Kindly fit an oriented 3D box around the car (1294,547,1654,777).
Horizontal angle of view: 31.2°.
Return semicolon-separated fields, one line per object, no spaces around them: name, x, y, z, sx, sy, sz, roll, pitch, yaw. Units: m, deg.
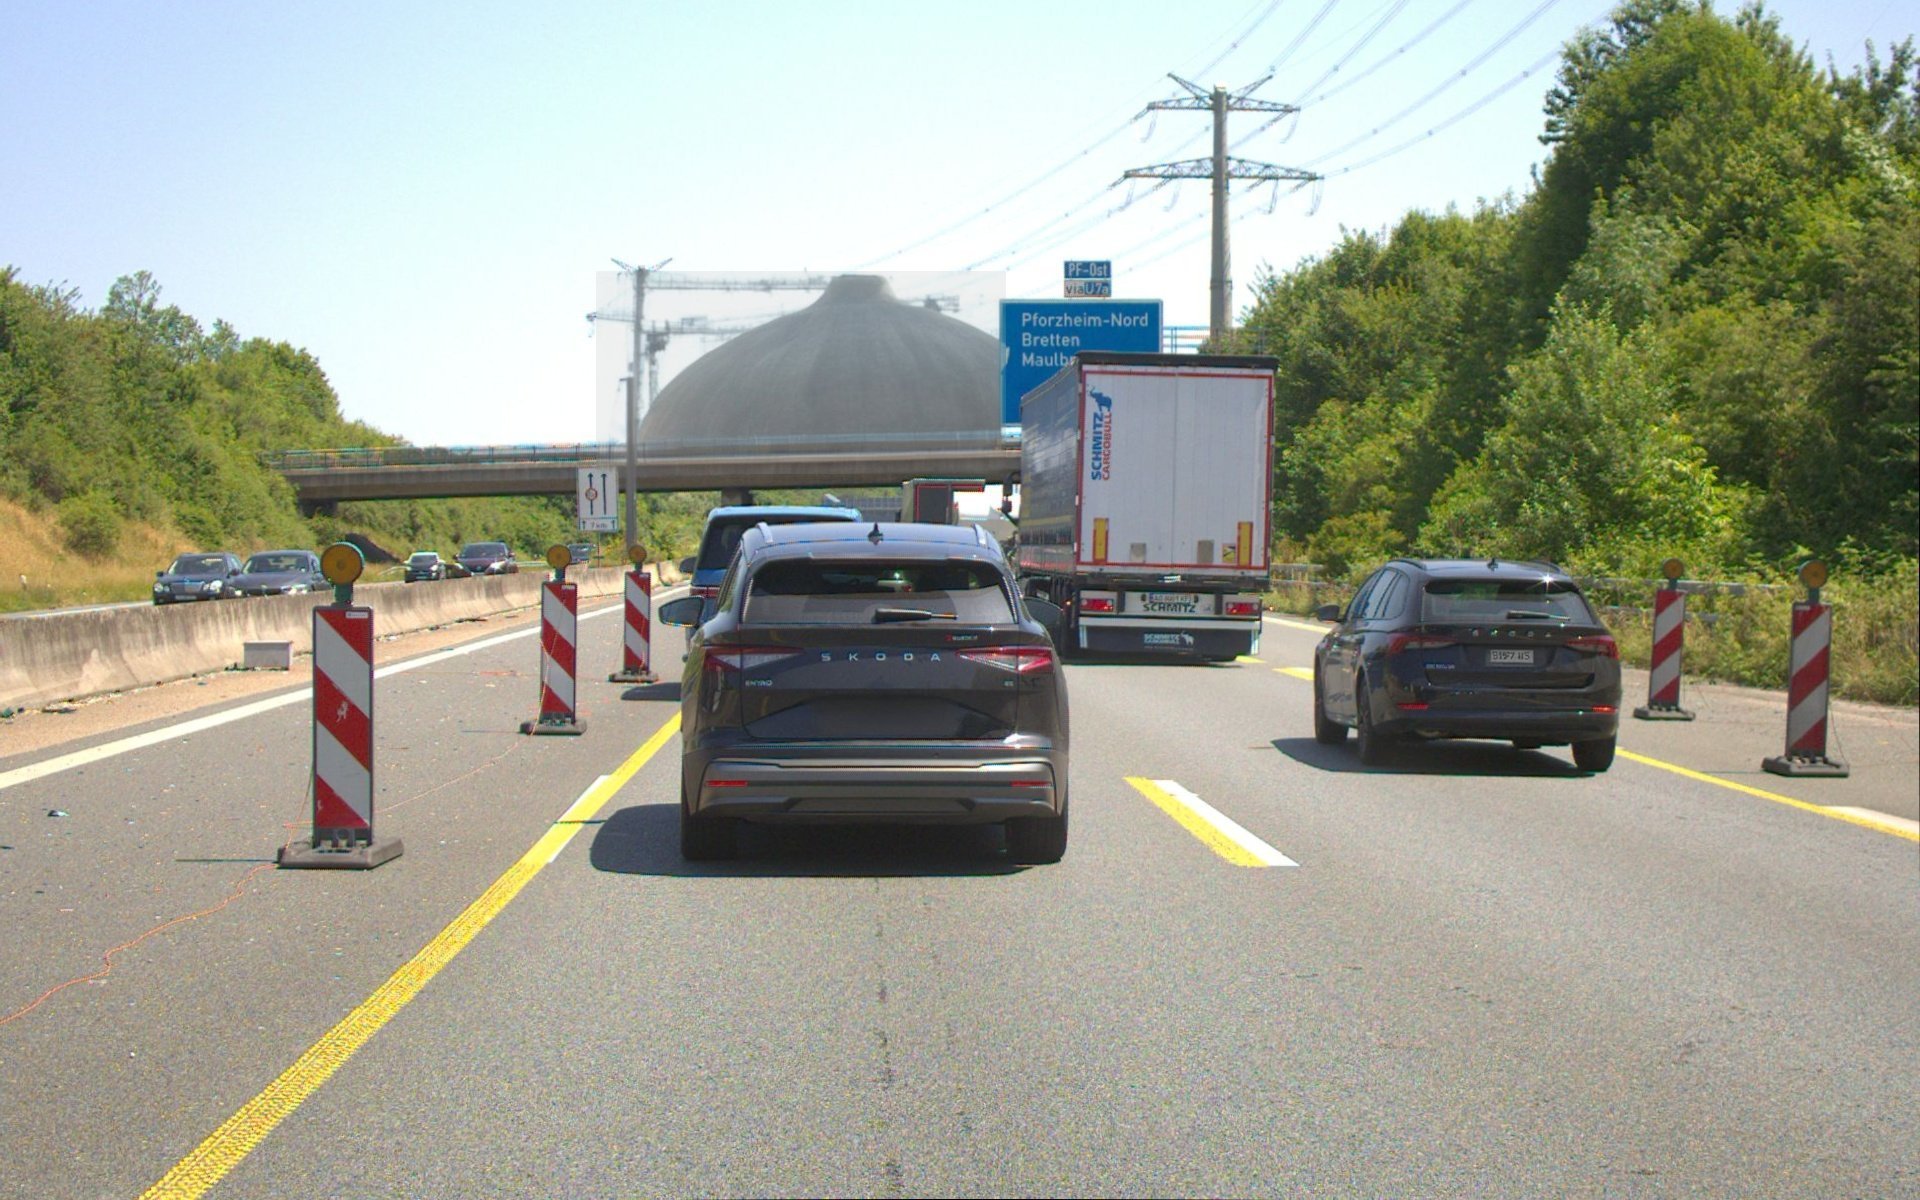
car;3.658;0.383;25.232;1.779;1.484;4.464;1;1;-2

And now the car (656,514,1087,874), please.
car;-0.498;0.365;17.438;1.895;1.586;4.443;0;1;-3

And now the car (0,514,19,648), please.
car;-13.071;-0.204;42.277;1.842;1.709;4.396;-1;1;-1

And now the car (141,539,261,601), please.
car;-18.857;-0.767;85.600;1.993;1.455;4.587;-1;1;0

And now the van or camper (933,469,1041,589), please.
van or camper;0.680;-1.910;92.498;2.586;2.958;6.085;4;1;-1

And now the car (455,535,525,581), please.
car;-15.490;-1.406;113.520;1.848;1.455;4.489;-1;1;-2

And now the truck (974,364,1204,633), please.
truck;1.991;-1.633;56.487;3.024;4.073;7.796;1;1;-3

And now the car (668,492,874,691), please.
car;-1.892;-0.076;34.723;1.895;1.835;4.443;1;0;-3

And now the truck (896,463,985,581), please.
truck;-0.773;-2.899;129.781;3.077;4.132;13.055;1;1;-1

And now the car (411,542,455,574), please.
car;-25.139;-2.018;164.043;1.574;1.459;3.779;0;1;-2

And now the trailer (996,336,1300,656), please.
trailer;2.458;-1.434;49.477;3.065;4.028;11.489;1;1;-3

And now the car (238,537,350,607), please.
car;-14.198;-0.625;73.421;1.616;1.437;3.990;-1;1;0
